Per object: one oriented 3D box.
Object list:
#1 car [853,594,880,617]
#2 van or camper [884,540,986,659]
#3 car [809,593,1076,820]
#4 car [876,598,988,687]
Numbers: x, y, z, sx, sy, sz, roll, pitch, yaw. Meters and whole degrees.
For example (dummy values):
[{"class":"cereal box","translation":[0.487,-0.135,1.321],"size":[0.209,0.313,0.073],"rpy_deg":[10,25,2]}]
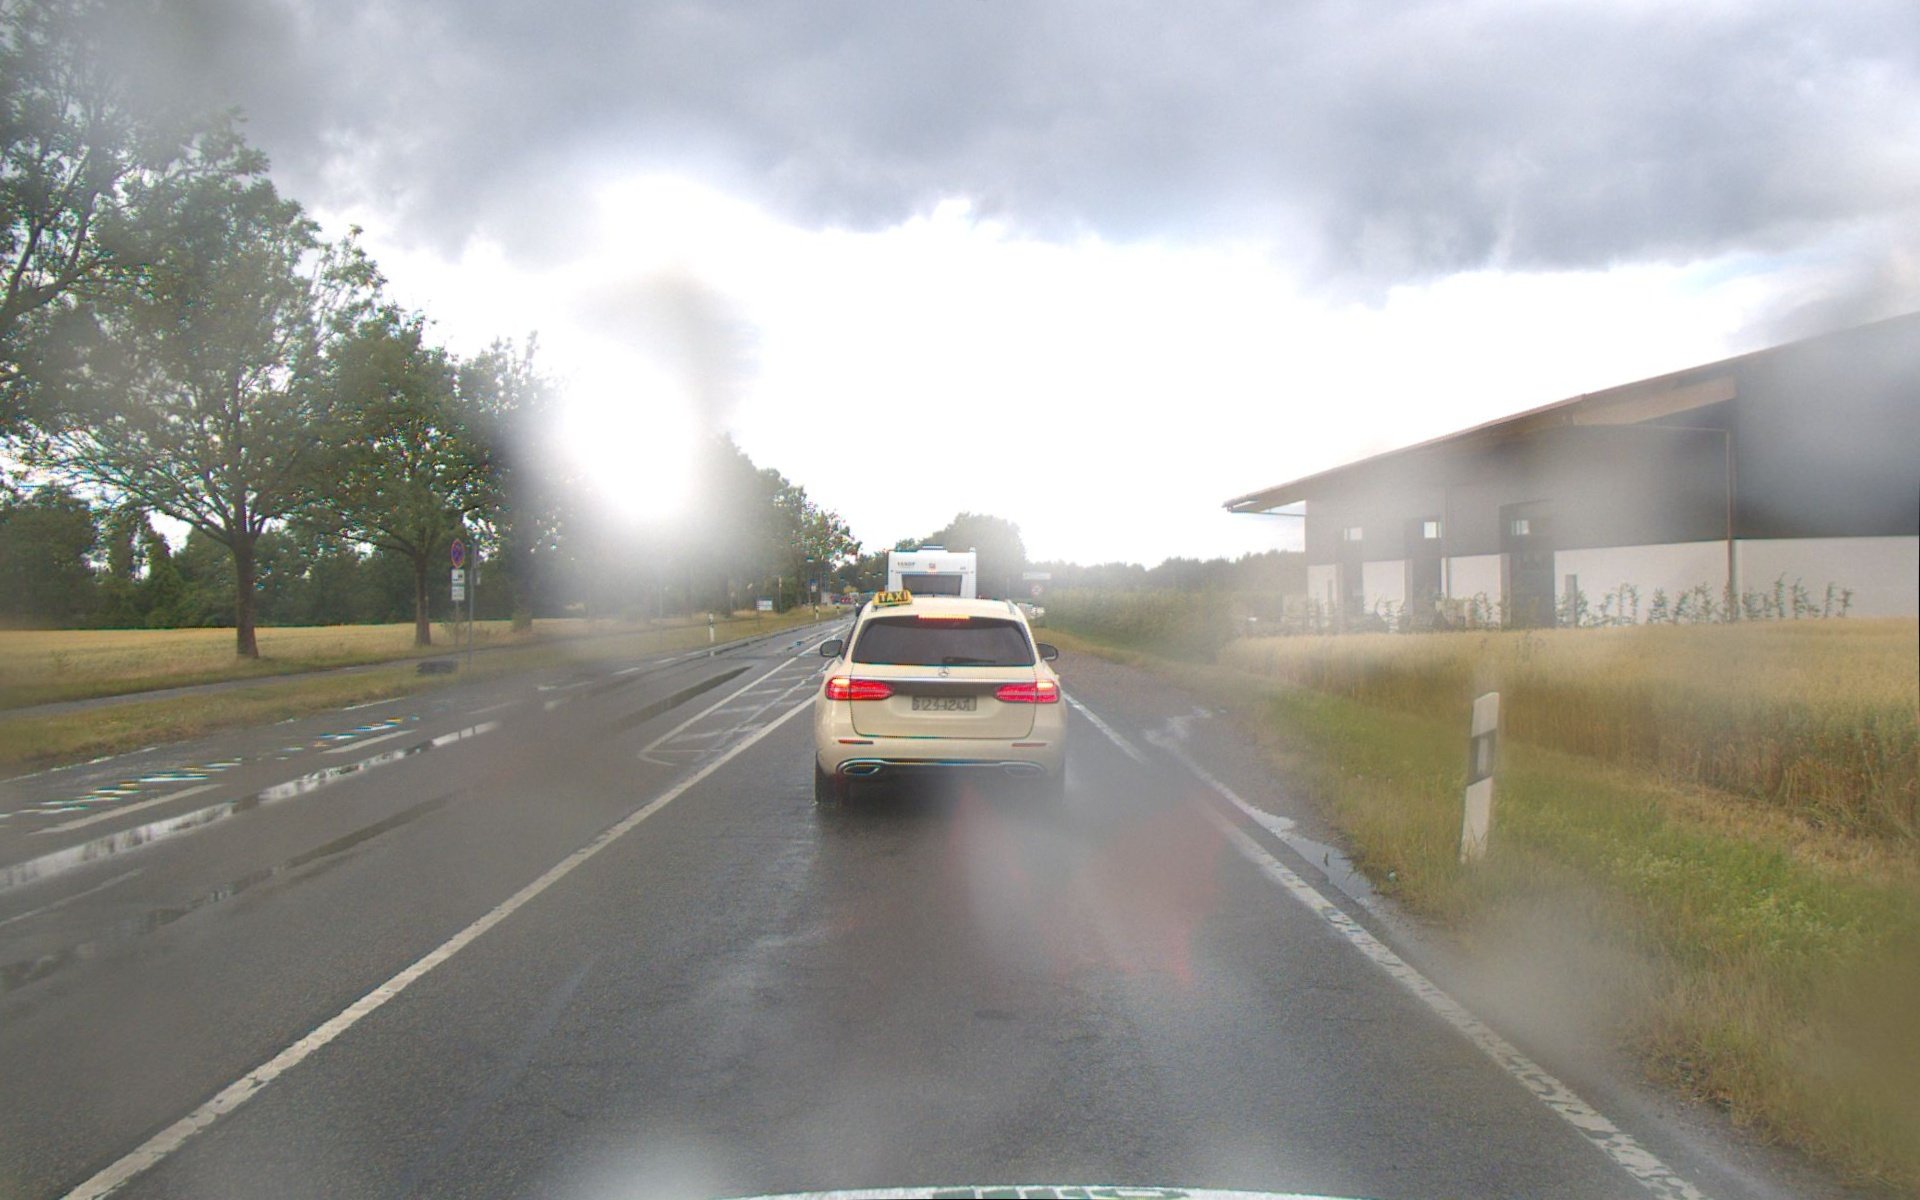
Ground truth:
[{"class":"car","translation":[-6.986,0.385,123.865],"size":[1.877,1.660,4.356],"rpy_deg":[-2,0,-1]},{"class":"van or camper","translation":[-0.631,-0.020,44.236],"size":[2.446,2.880,5.933],"rpy_deg":[-2,0,0]},{"class":"car","translation":[-0.136,0.693,12.928],"size":[1.761,1.490,4.030],"rpy_deg":[0,0,-1]},{"class":"car","translation":[-0.517,0.706,29.421],"size":[1.856,1.454,3.926],"rpy_deg":[0,0,-2]}]
